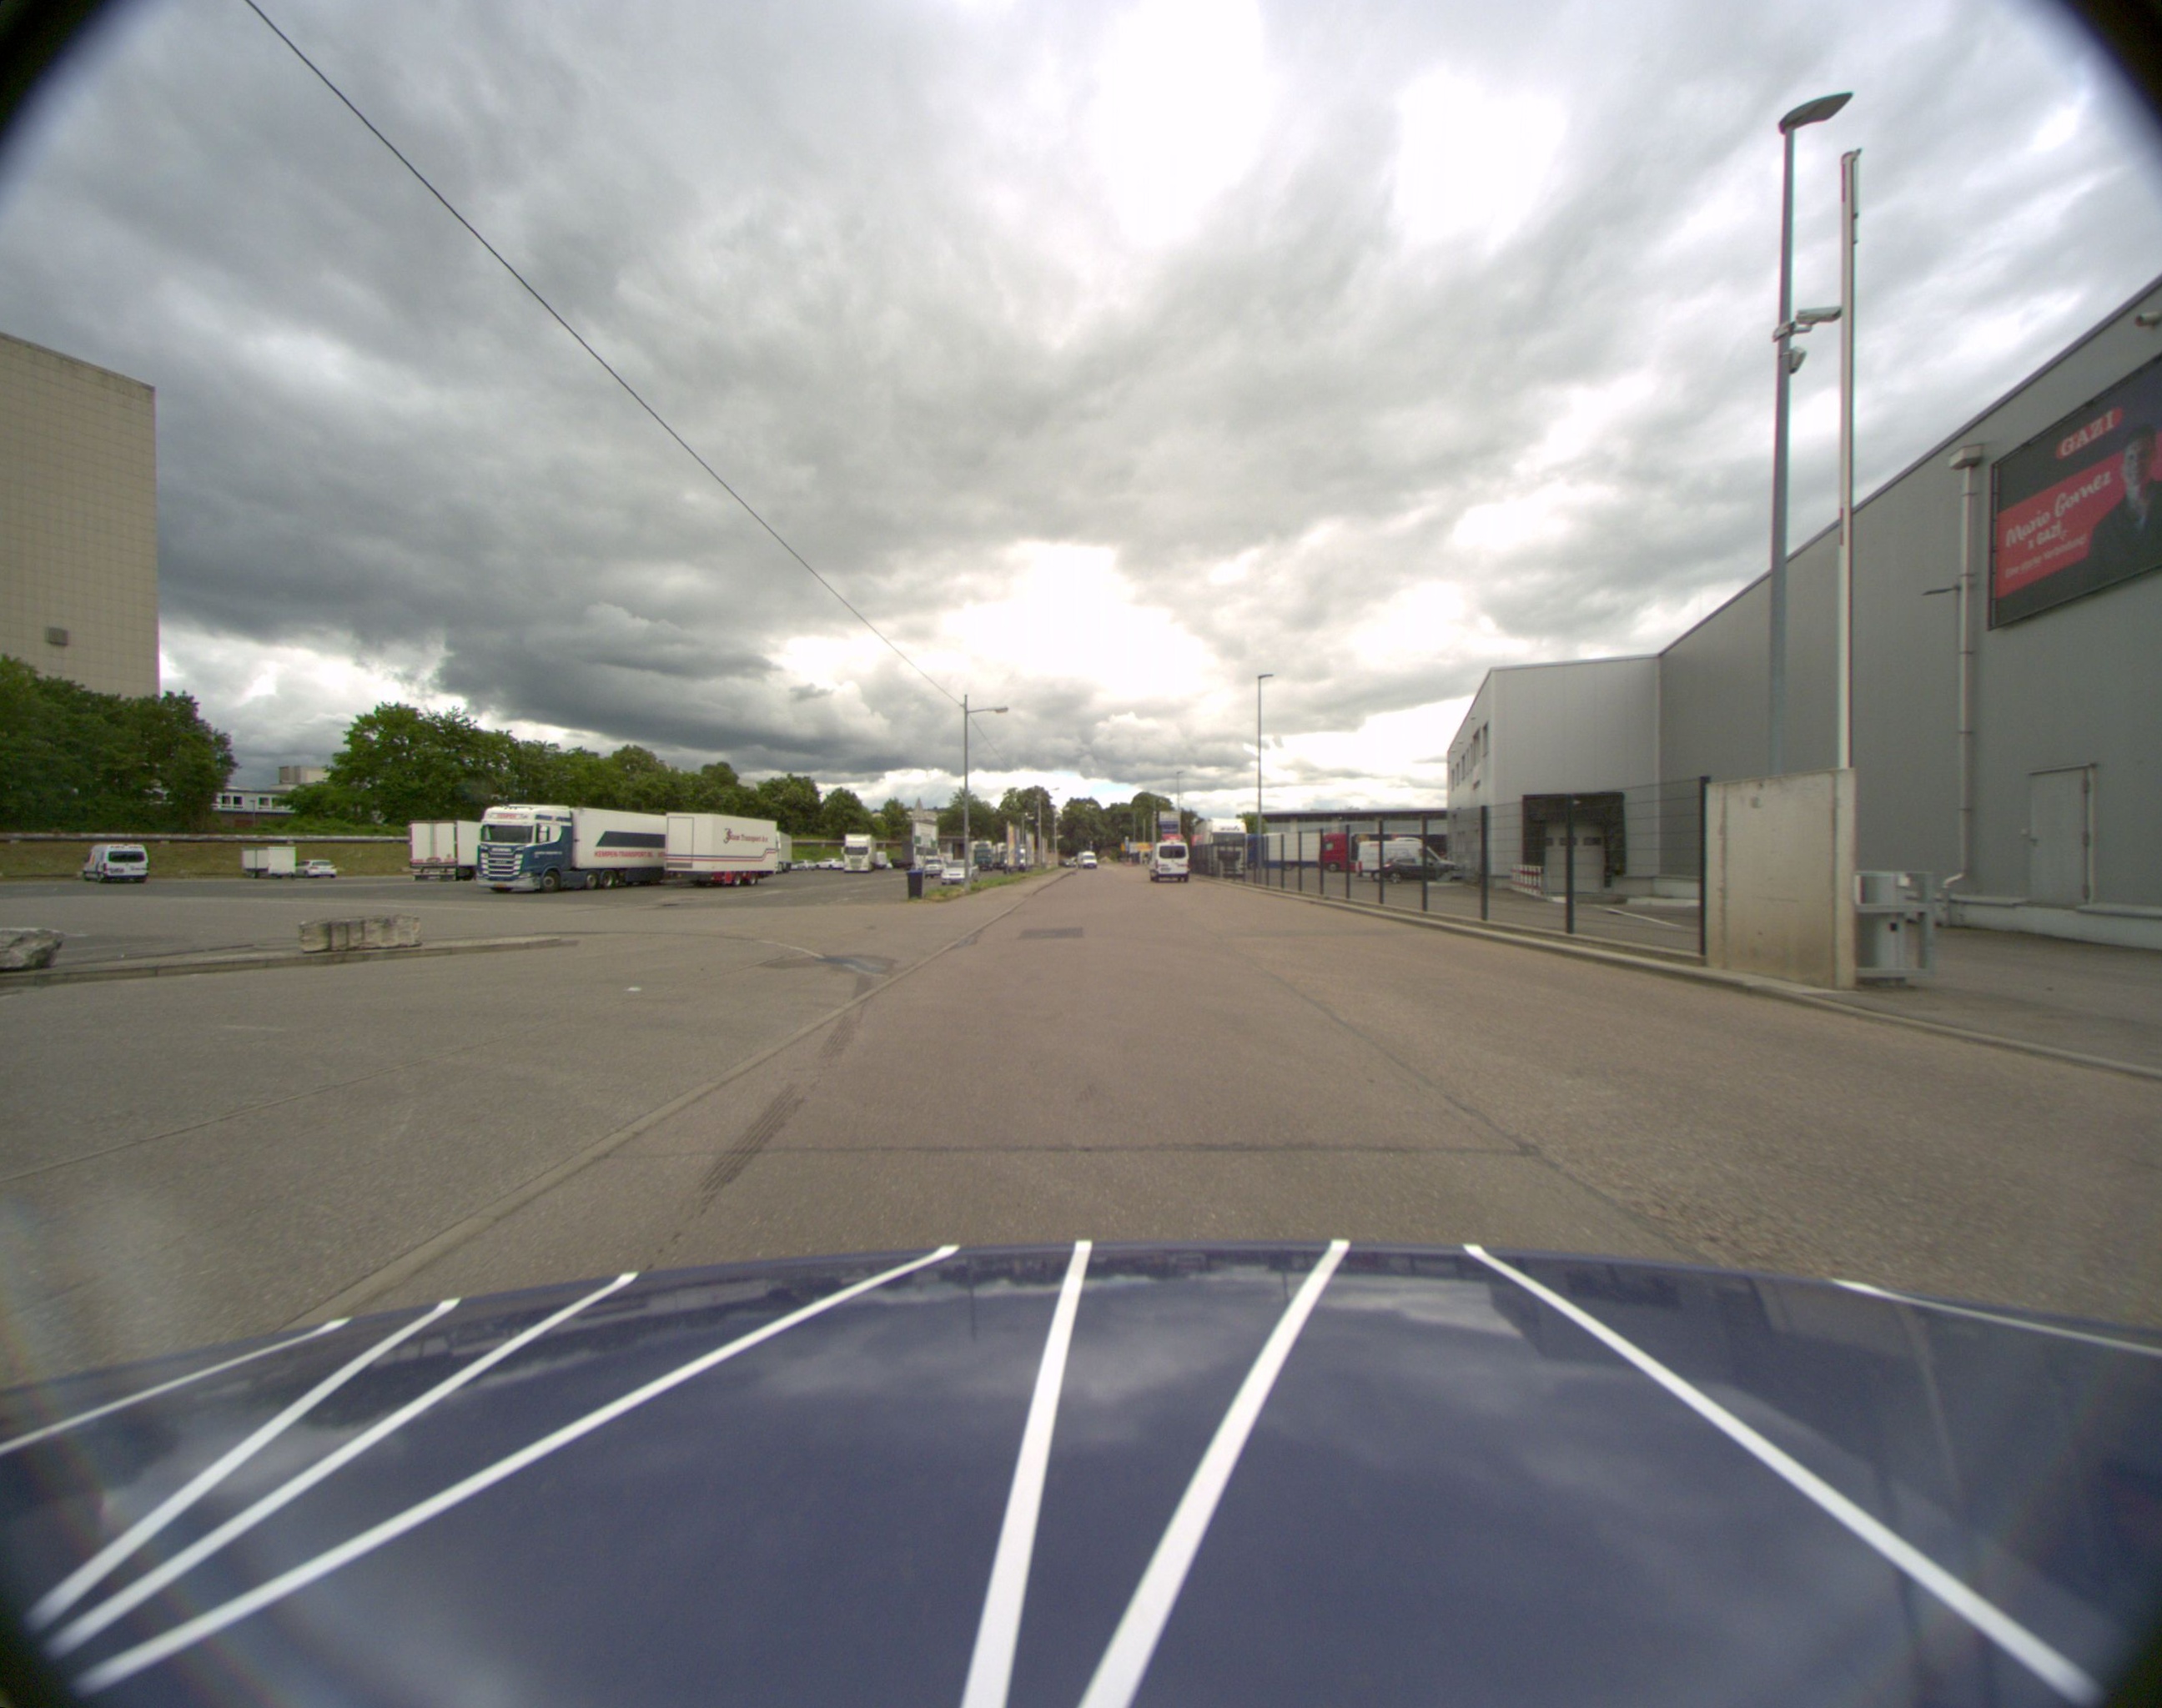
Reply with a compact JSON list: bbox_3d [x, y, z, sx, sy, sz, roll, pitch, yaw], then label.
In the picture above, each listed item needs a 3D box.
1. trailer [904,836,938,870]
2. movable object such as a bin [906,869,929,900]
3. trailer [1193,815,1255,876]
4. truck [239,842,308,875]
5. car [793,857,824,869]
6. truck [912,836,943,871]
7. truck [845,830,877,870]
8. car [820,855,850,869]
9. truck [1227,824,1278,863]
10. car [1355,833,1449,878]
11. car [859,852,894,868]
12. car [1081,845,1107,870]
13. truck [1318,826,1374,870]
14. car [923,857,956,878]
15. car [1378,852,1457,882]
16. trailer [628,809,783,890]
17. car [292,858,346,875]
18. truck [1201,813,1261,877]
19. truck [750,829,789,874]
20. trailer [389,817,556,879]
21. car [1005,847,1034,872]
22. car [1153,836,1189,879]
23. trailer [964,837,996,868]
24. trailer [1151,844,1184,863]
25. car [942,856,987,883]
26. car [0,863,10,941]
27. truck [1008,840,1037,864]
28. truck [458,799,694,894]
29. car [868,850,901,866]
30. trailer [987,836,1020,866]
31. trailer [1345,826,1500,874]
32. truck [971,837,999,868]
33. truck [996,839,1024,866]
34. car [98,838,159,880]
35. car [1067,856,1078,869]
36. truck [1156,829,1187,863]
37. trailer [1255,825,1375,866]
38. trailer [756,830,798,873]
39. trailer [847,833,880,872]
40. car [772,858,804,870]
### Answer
[{"bbox_3d":[-21.079,-0.111,99.596,2.842,4.071,13.374,1,0,-19],"label":"trailer"},{"bbox_3d":[-5.807,1.096,27.056,0.716,1.075,0.662,0,0,-5],"label":"movable object such as a bin"},{"bbox_3d":[10.949,-0.624,59.819,3.366,4.136,13.853,2,0,5],"label":"trailer"},{"bbox_3d":[-64.744,0.328,60.905,5.941,2.476,2.286,2,1,27],"label":"truck"},{"bbox_3d":[-38.148,1.260,106.201,3.989,1.599,2.004,0,0,31],"label":"car"},{"bbox_3d":[-18.776,-0.092,92.734,2.877,4.071,6.745,1,0,-18],"label":"truck"},{"bbox_3d":[-23.657,-0.442,81.931,2.876,4.071,6.749,1,0,-12],"label":"truck"},{"bbox_3d":[-35.760,1.149,110.256,3.989,1.862,2.004,0,0,31],"label":"car"},{"bbox_3d":[18.642,-1.126,82.828,4.877,4.109,3.048,1,1,2],"label":"truck"},{"bbox_3d":[20.517,0.129,48.819,5.422,2.714,2.245,-2,0,20],"label":"car"},{"bbox_3d":[-31.490,0.921,116.924,4.906,2.435,2.375,0,0,33],"label":"car"},{"bbox_3d":[1.884,0.552,113.704,3.339,3.586,8.668,0,0,-2],"label":"car"},{"bbox_3d":[26.298,-0.580,75.400,4.869,4.180,3.053,2,1,24],"label":"truck"},{"bbox_3d":[-11.513,1.063,61.958,1.769,1.562,4.000,-2,0,1],"label":"car"},{"bbox_3d":[19.459,0.750,44.052,4.071,1.567,1.947,-2,0,23],"label":"car"},{"bbox_3d":[-20.805,-0.236,43.175,2.964,3.944,10.408,2,0,4],"label":"trailer"},{"bbox_3d":[-62.836,0.984,62.645,4.137,1.346,2.004,0,0,28],"label":"car"},{"bbox_3d":[10.330,-0.583,52.846,3.366,4.136,5.629,2,1,5],"label":"truck"},{"bbox_3d":[-29.390,-0.221,71.853,2.617,4.071,6.747,1,0,-16],"label":"truck"},{"bbox_3d":[-43.222,-0.371,54.961,3.644,3.887,13.723,0,0,-12],"label":"trailer"},{"bbox_3d":[-6.057,0.497,75.542,2.091,2.401,6.084,0,0,3],"label":"car"},{"bbox_3d":[5.458,0.216,46.447,1.997,2.402,5.259,-1,0,6],"label":"car"},{"bbox_3d":[-14.436,-0.219,107.789,2.841,4.071,13.378,1,0,-14],"label":"trailer"},{"bbox_3d":[10.602,-0.095,94.483,3.045,2.179,12.048,1,0,2],"label":"trailer"},{"bbox_3d":[-6.737,0.885,44.319,1.778,1.455,4.560,0,0,1],"label":"car"},{"bbox_3d":[-22.527,0.952,13.227,1.769,1.562,4.215,1,0,1],"label":"car"},{"bbox_3d":[-9.517,-0.326,123.120,2.832,3.690,9.090,-1,0,-17],"label":"truck"},{"bbox_3d":[-24.890,-0.335,38.982,3.082,3.944,13.069,2,0,1],"label":"truck"},{"bbox_3d":[-31.019,0.621,119.749,4.906,2.435,2.375,0,0,33],"label":"car"},{"bbox_3d":[-11.556,-0.434,112.143,2.841,4.071,13.378,1,0,-14],"label":"trailer"},{"bbox_3d":[32.428,-0.415,72.724,13.156,4.189,3.053,2,1,23],"label":"trailer"},{"bbox_3d":[-12.934,-0.164,101.857,2.876,3.990,6.748,1,0,-14],"label":"truck"},{"bbox_3d":[-9.990,-0.206,105.959,2.876,3.609,6.748,1,0,-14],"label":"truck"},{"bbox_3d":[-66.470,0.362,53.005,5.072,2.820,2.112,0,0,33],"label":"car"},{"bbox_3d":[-1.413,1.383,126.418,1.712,2.002,3.888,0,0,-4],"label":"car"},{"bbox_3d":[10.444,-0.918,88.569,3.021,3.827,5.670,1,0,2],"label":"truck"},{"bbox_3d":[24.957,-0.953,81.315,12.019,4.109,3.053,2,1,20],"label":"trailer"},{"bbox_3d":[-31.309,-0.229,78.700,2.617,4.071,12.427,1,0,-16],"label":"trailer"},{"bbox_3d":[-24.974,-0.159,87.921,2.841,4.071,13.381,1,0,-13],"label":"trailer"},{"bbox_3d":[-40.424,1.320,104.798,4.208,1.599,2.004,0,0,31],"label":"car"}]
